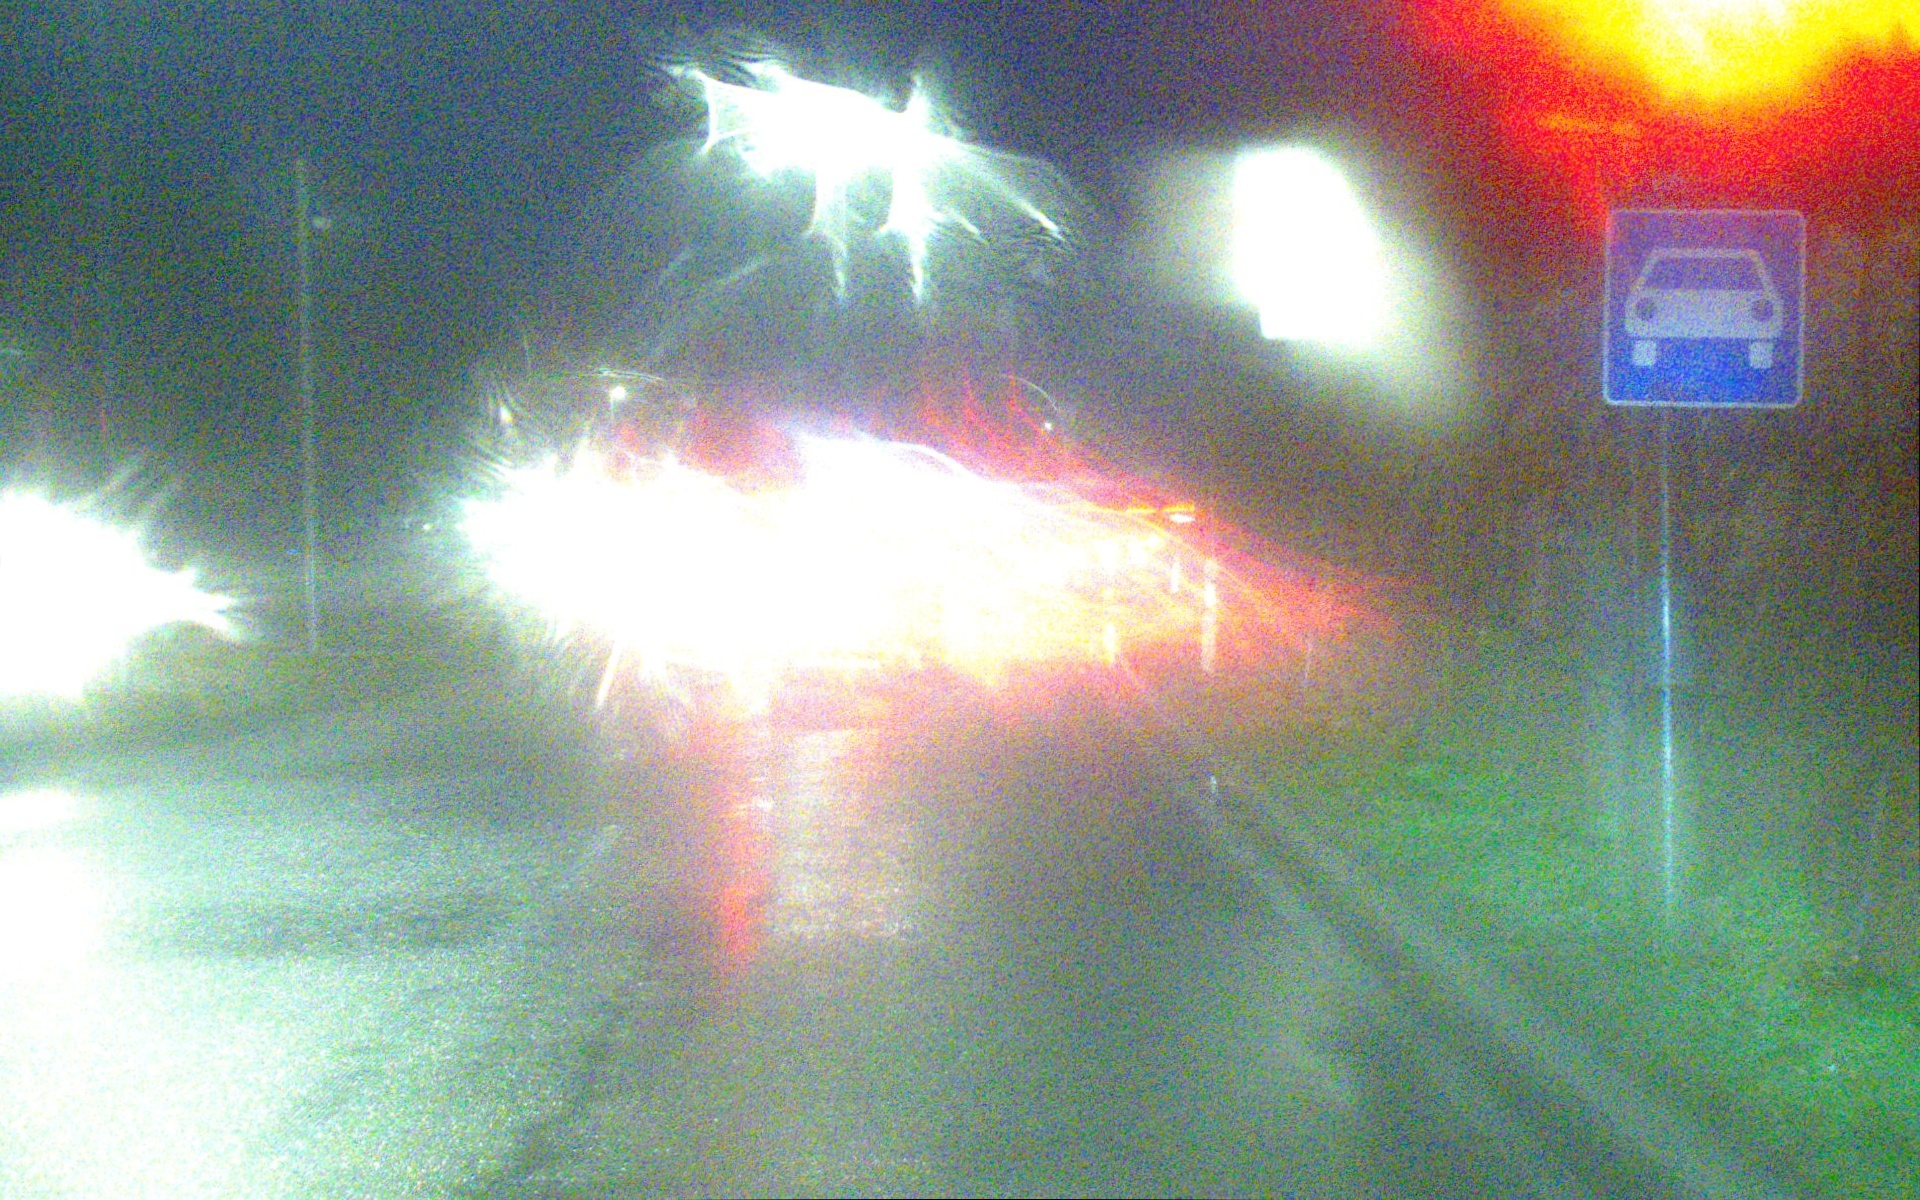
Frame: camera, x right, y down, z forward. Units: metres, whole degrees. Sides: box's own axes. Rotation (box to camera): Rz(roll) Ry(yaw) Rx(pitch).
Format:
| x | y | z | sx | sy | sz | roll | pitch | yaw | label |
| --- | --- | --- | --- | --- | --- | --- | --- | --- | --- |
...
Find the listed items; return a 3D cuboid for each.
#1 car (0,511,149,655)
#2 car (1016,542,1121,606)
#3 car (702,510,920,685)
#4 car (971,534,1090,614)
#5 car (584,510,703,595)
| x | y | z | sx | sy | sz | roll | pitch | yaw | label |
| --- | --- | --- | --- | --- | --- | --- | --- | --- | --- |
| -10.326 | -0.184 | 38.185 | 1.585 | 1.520 | 3.651 | 0 | 0 | 4 | car |
| 2.315 | -0.557 | 74.539 | 2.107 | 1.335 | 4.294 | 0 | 0 | 0 | car |
| -1.397 | -0.030 | 33.728 | 1.993 | 1.605 | 4.103 | 0 | 0 | 0 | car |
| 1.269 | -0.465 | 63.639 | 2.103 | 1.434 | 4.000 | 0 | 0 | 0 | car |
| -6.459 | -0.962 | 70.574 | 1.718 | 1.697 | 4.142 | 0 | 0 | 5 | car |
